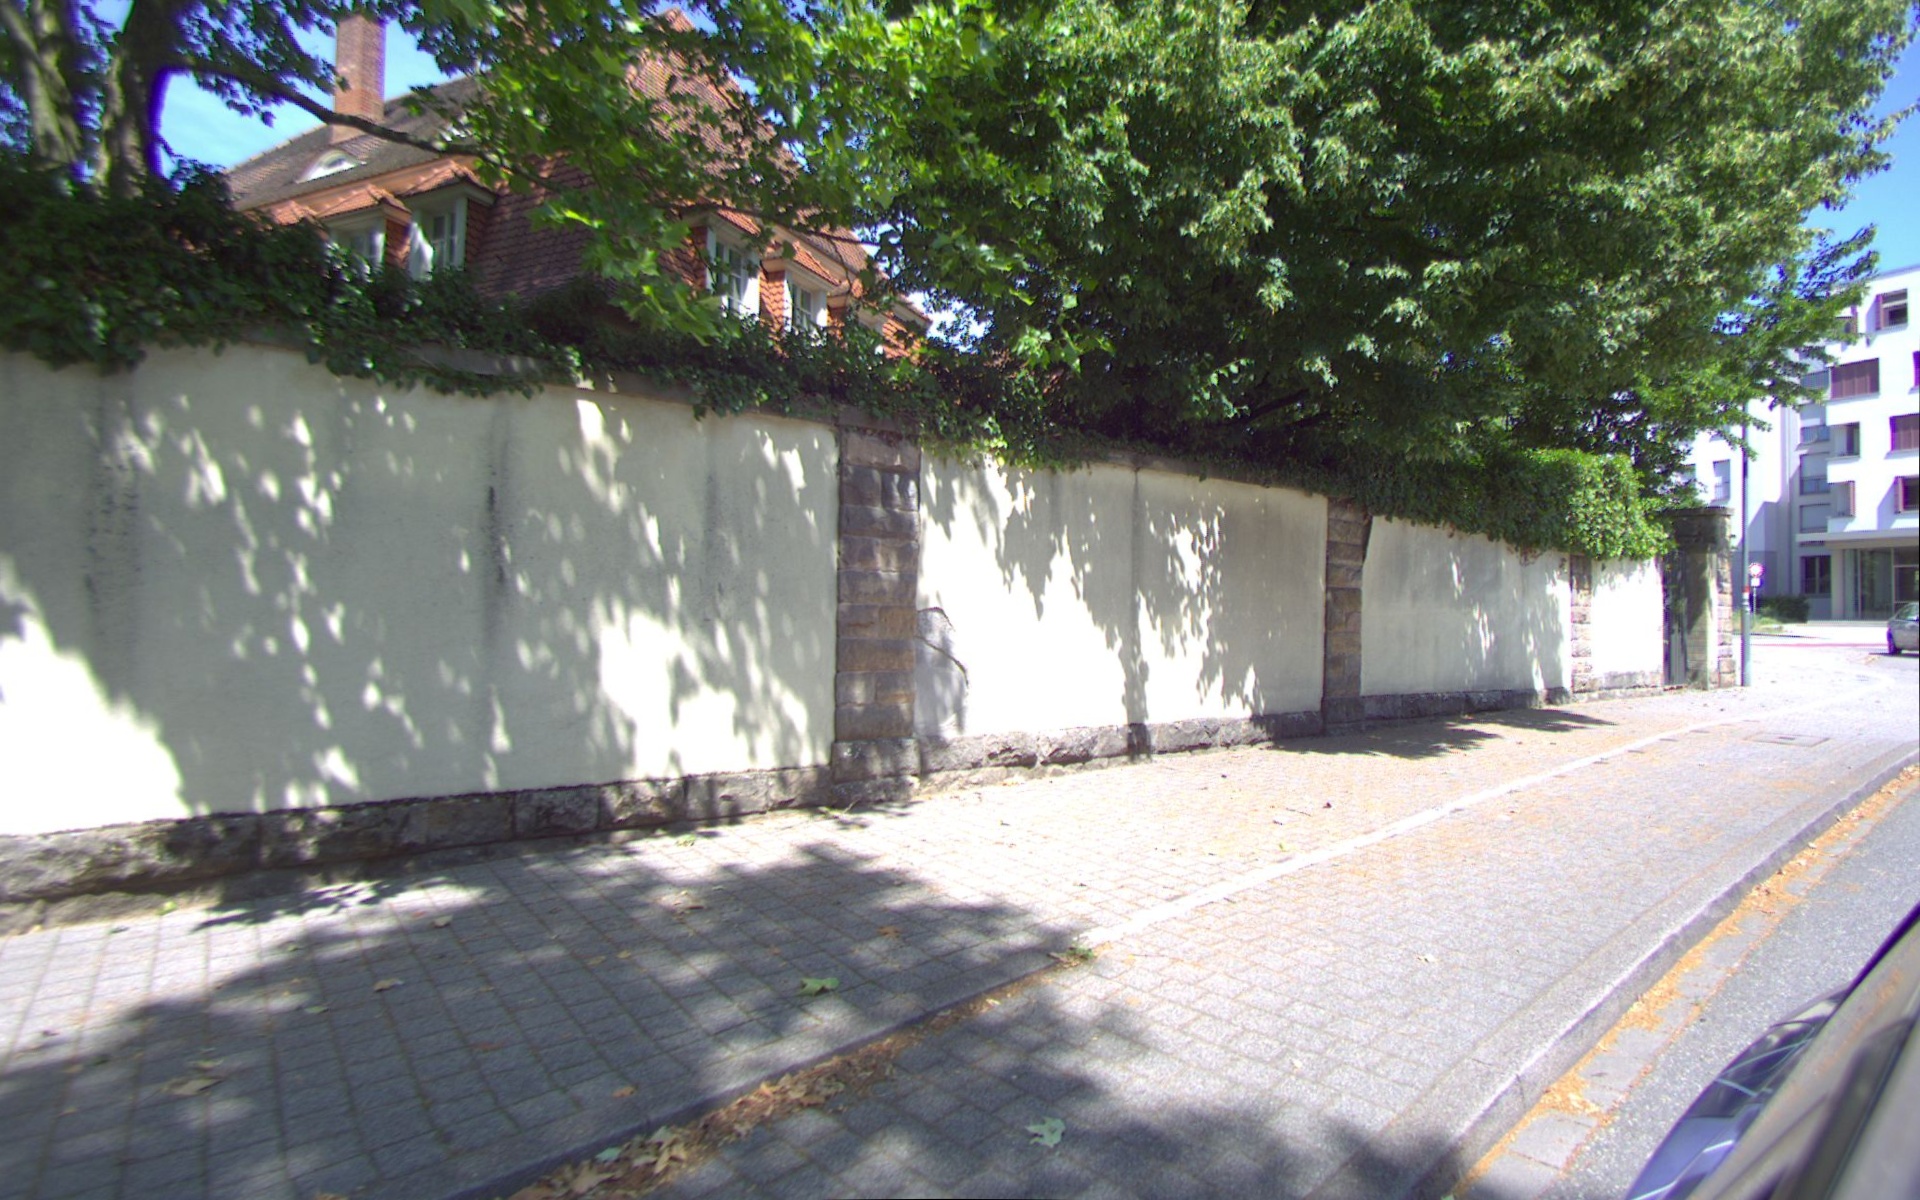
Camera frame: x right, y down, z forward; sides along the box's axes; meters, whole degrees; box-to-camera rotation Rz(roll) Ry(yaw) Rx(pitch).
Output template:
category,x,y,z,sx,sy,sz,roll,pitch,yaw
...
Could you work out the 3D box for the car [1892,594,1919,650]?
category,x,y,z,sx,sy,sz,roll,pitch,yaw
car,25.927,0.576,26.338,1.595,1.470,3.958,-1,0,30
